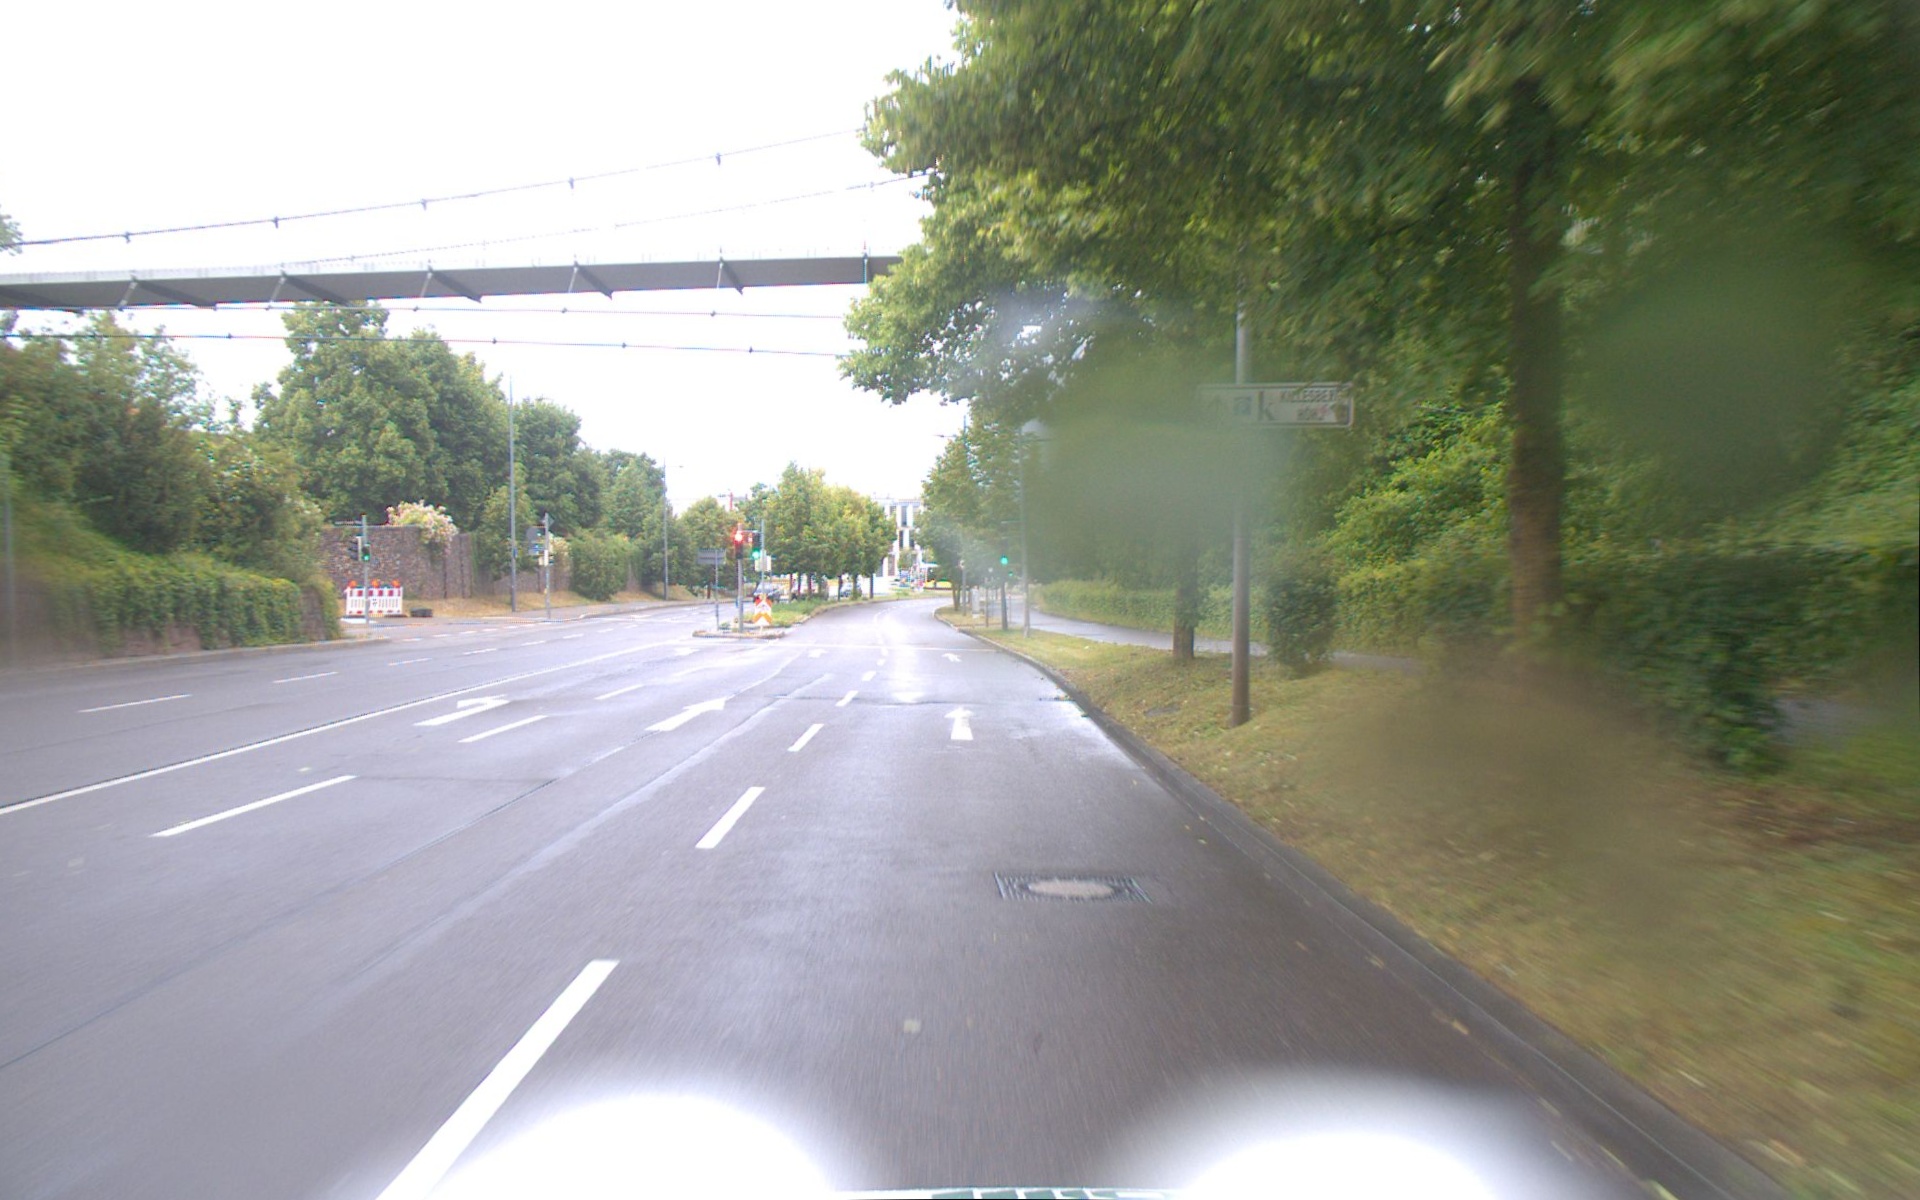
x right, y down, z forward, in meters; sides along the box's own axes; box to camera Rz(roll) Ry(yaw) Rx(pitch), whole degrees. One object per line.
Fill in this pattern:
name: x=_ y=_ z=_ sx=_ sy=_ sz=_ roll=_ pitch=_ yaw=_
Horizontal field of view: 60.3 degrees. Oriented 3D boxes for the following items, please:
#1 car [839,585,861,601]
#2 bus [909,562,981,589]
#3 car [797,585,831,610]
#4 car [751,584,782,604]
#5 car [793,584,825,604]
car: x=-10.973 y=-0.711 z=165.050 sx=1.651 sy=1.566 sz=2.918 roll=1 pitch=1 yaw=5
bus: x=-1.979 y=-3.399 z=232.227 sx=2.729 sy=3.416 sz=18.216 roll=0 pitch=0 yaw=24
car: x=-11.490 y=-0.207 z=130.612 sx=1.971 sy=1.952 sz=5.097 roll=1 pitch=0 yaw=3
car: x=-14.975 y=-0.454 z=127.987 sx=1.564 sy=1.515 sz=4.003 roll=1 pitch=1 yaw=6
car: x=-13.162 y=-0.539 z=144.129 sx=1.841 sy=1.623 sz=4.770 roll=1 pitch=0 yaw=6
